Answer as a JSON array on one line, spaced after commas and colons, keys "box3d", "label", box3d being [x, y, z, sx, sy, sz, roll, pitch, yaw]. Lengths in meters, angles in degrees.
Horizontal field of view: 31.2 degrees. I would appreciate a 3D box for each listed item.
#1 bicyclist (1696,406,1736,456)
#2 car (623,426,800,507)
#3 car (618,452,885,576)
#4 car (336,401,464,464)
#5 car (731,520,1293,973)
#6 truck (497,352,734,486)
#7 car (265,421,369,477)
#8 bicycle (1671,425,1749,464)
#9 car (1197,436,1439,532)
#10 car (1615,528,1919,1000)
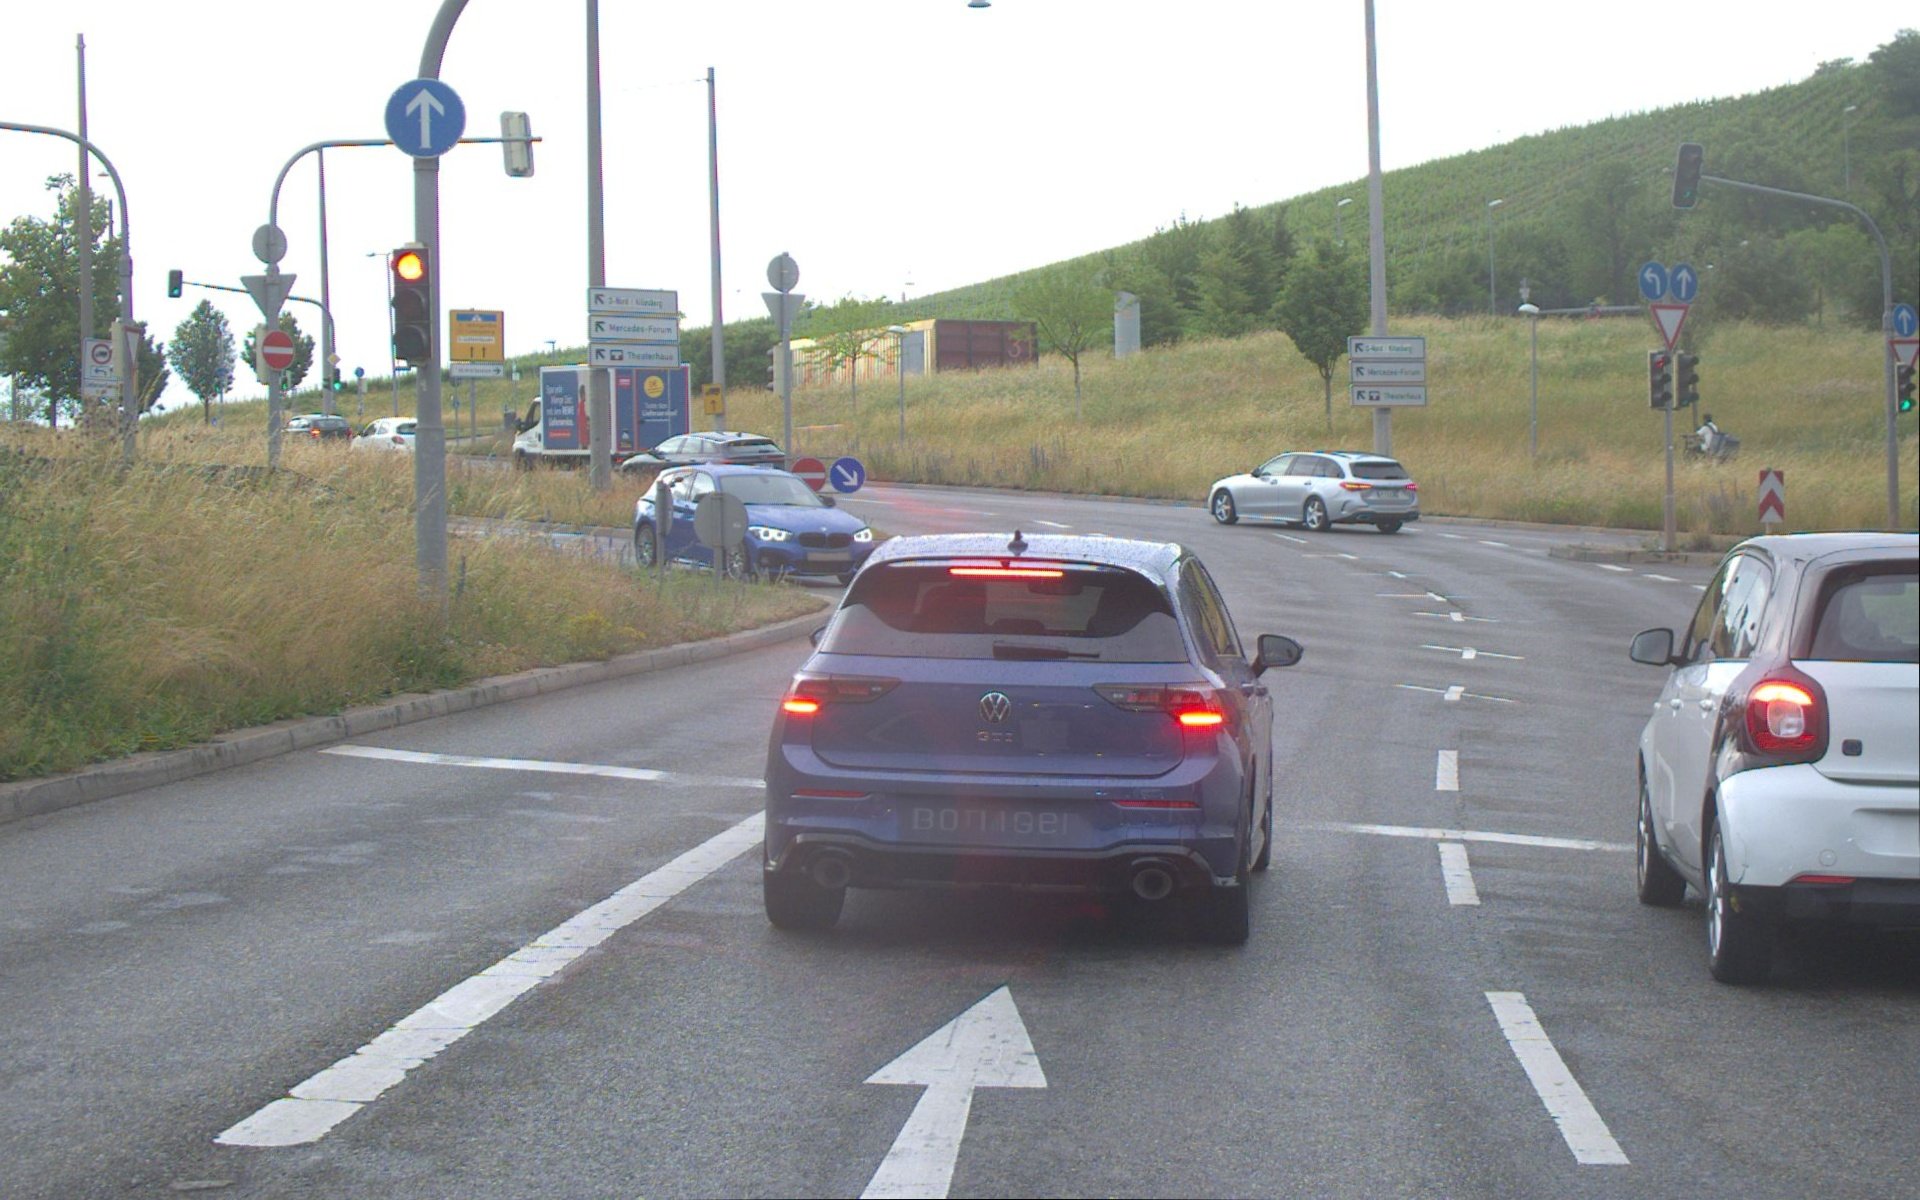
[{"box3d": [16.243, -3.630, 73.865, 0.523, 1.043, 0.580, 2, 2, -39], "label": "bicyclist"}, {"box3d": [-5.441, -2.871, 74.802, 1.993, 1.654, 4.353, 0, 1, -33], "label": "car"}, {"box3d": [-2.691, -1.071, 43.421, 1.694, 1.470, 4.293, 1, 1, -28], "label": "car"}, {"box3d": [-16.251, -4.835, 99.543, 1.993, 1.654, 4.545, 0, 1, -33], "label": "car"}, {"box3d": [0.347, 0.440, 13.413, 1.825, 1.455, 3.808, 1, 2, 6], "label": "car"}, {"box3d": [-8.759, -4.599, 86.798, 3.258, 3.064, 6.177, 2, 2, -34], "label": "truck"}, {"box3d": [-20.783, -4.855, 111.014, 1.993, 1.654, 4.545, 1, 1, -28], "label": "car"}, {"box3d": [16.140, -3.346, 73.970, 0.518, 0.772, 1.621, 2, 2, -40], "label": "bicycle"}, {"box3d": [6.504, -2.091, 62.898, 1.993, 1.654, 4.545, 0, 1, -33], "label": "car"}, {"box3d": [3.398, 0.513, 12.656, 1.658, 1.497, 3.450, 1, 1, 6], "label": "car"}]
